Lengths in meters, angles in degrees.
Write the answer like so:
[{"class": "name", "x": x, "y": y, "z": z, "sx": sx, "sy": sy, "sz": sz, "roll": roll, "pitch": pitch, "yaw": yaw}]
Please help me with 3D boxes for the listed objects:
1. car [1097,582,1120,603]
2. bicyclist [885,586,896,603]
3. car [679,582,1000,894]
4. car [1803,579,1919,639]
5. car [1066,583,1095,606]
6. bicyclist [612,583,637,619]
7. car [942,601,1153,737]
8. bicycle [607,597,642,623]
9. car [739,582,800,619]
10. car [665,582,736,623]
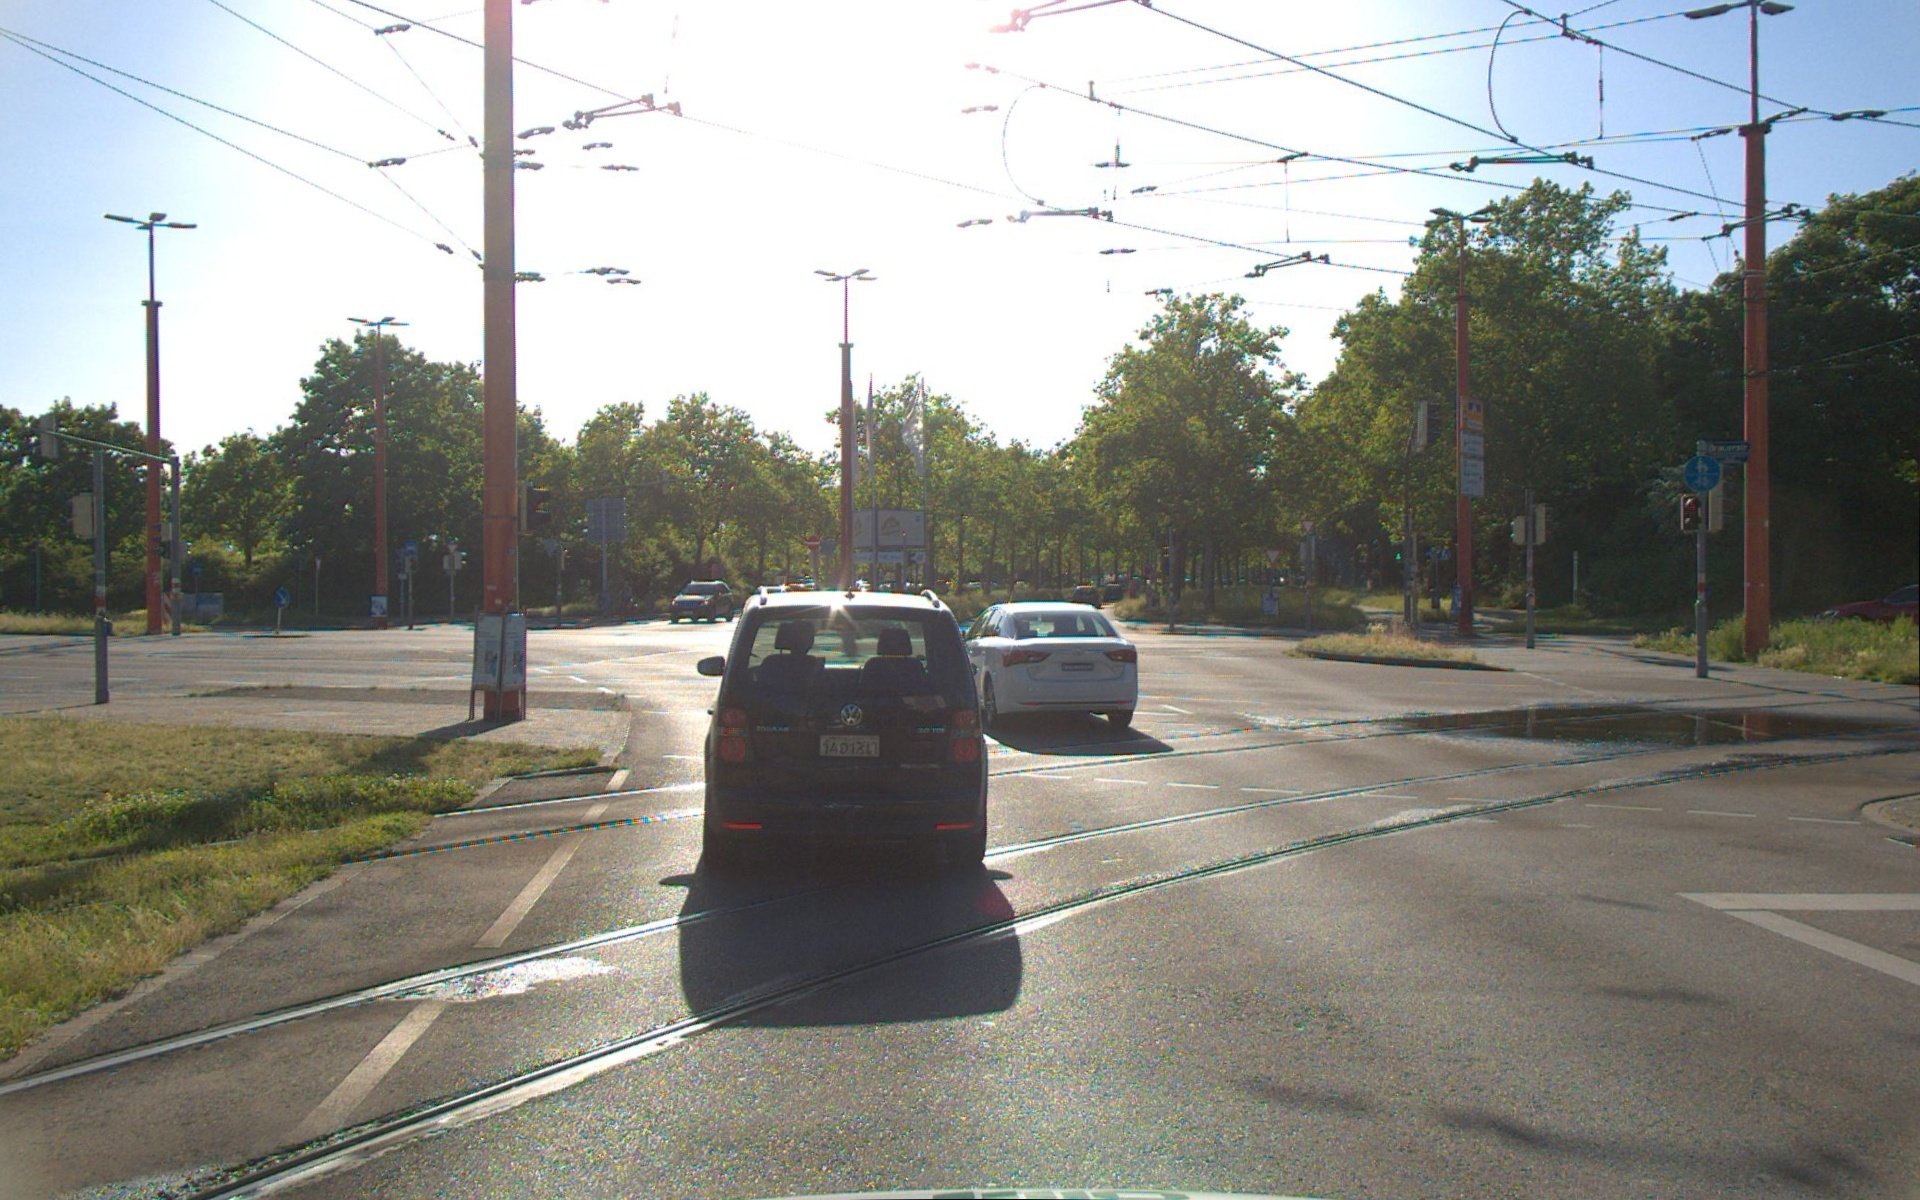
[{"class": "car", "x": 12.394, "y": -0.601, "z": 138.364, "sx": 1.833, "sy": 1.655, "sz": 4.002, "roll": 1, "pitch": 0, "yaw": 5}, {"class": "bicyclist", "x": -5.914, "y": -0.461, "z": 140.806, "sx": 0.719, "sy": 1.461, "sz": 0.967, "roll": -1, "pitch": 0, "yaw": 11}, {"class": "car", "x": -0.747, "y": 0.719, "z": 11.418, "sx": 1.732, "sy": 1.672, "sz": 4.921, "roll": 0, "pitch": 1, "yaw": -2}, {"class": "car", "x": 24.285, "y": 0.222, "z": 42.925, "sx": 4.190, "sy": 1.521, "sz": 1.999, "roll": 0, "pitch": 1, "yaw": 25}, {"class": "car", "x": 7.883, "y": -0.386, "z": 108.670, "sx": 1.752, "sy": 1.412, "sz": 4.051, "roll": 1, "pitch": 1, "yaw": 2}, {"class": "bicyclist", "x": -15.050, "y": 0.033, "z": 74.186, "sx": 0.743, "sy": 1.585, "sz": 0.982, "roll": -1, "pitch": 1, "yaw": 15}, {"class": "car", "x": 0.983, "y": 0.781, "z": 21.017, "sx": 1.735, "sy": 1.489, "sz": 4.355, "roll": 0, "pitch": 1, "yaw": -10}, {"class": "bicycle", "x": -15.037, "y": 0.437, "z": 74.188, "sx": 0.747, "sy": 1.110, "sz": 2.017, "roll": -1, "pitch": 1, "yaw": 15}, {"class": "car", "x": -8.195, "y": 0.010, "z": 71.510, "sx": 1.730, "sy": 1.565, "sz": 4.094, "roll": 0, "pitch": 1, "yaw": 7}, {"class": "car", "x": -11.536, "y": 0.097, "z": 73.773, "sx": 1.862, "sy": 1.756, "sz": 4.657, "roll": 0, "pitch": 1, "yaw": 8}]
